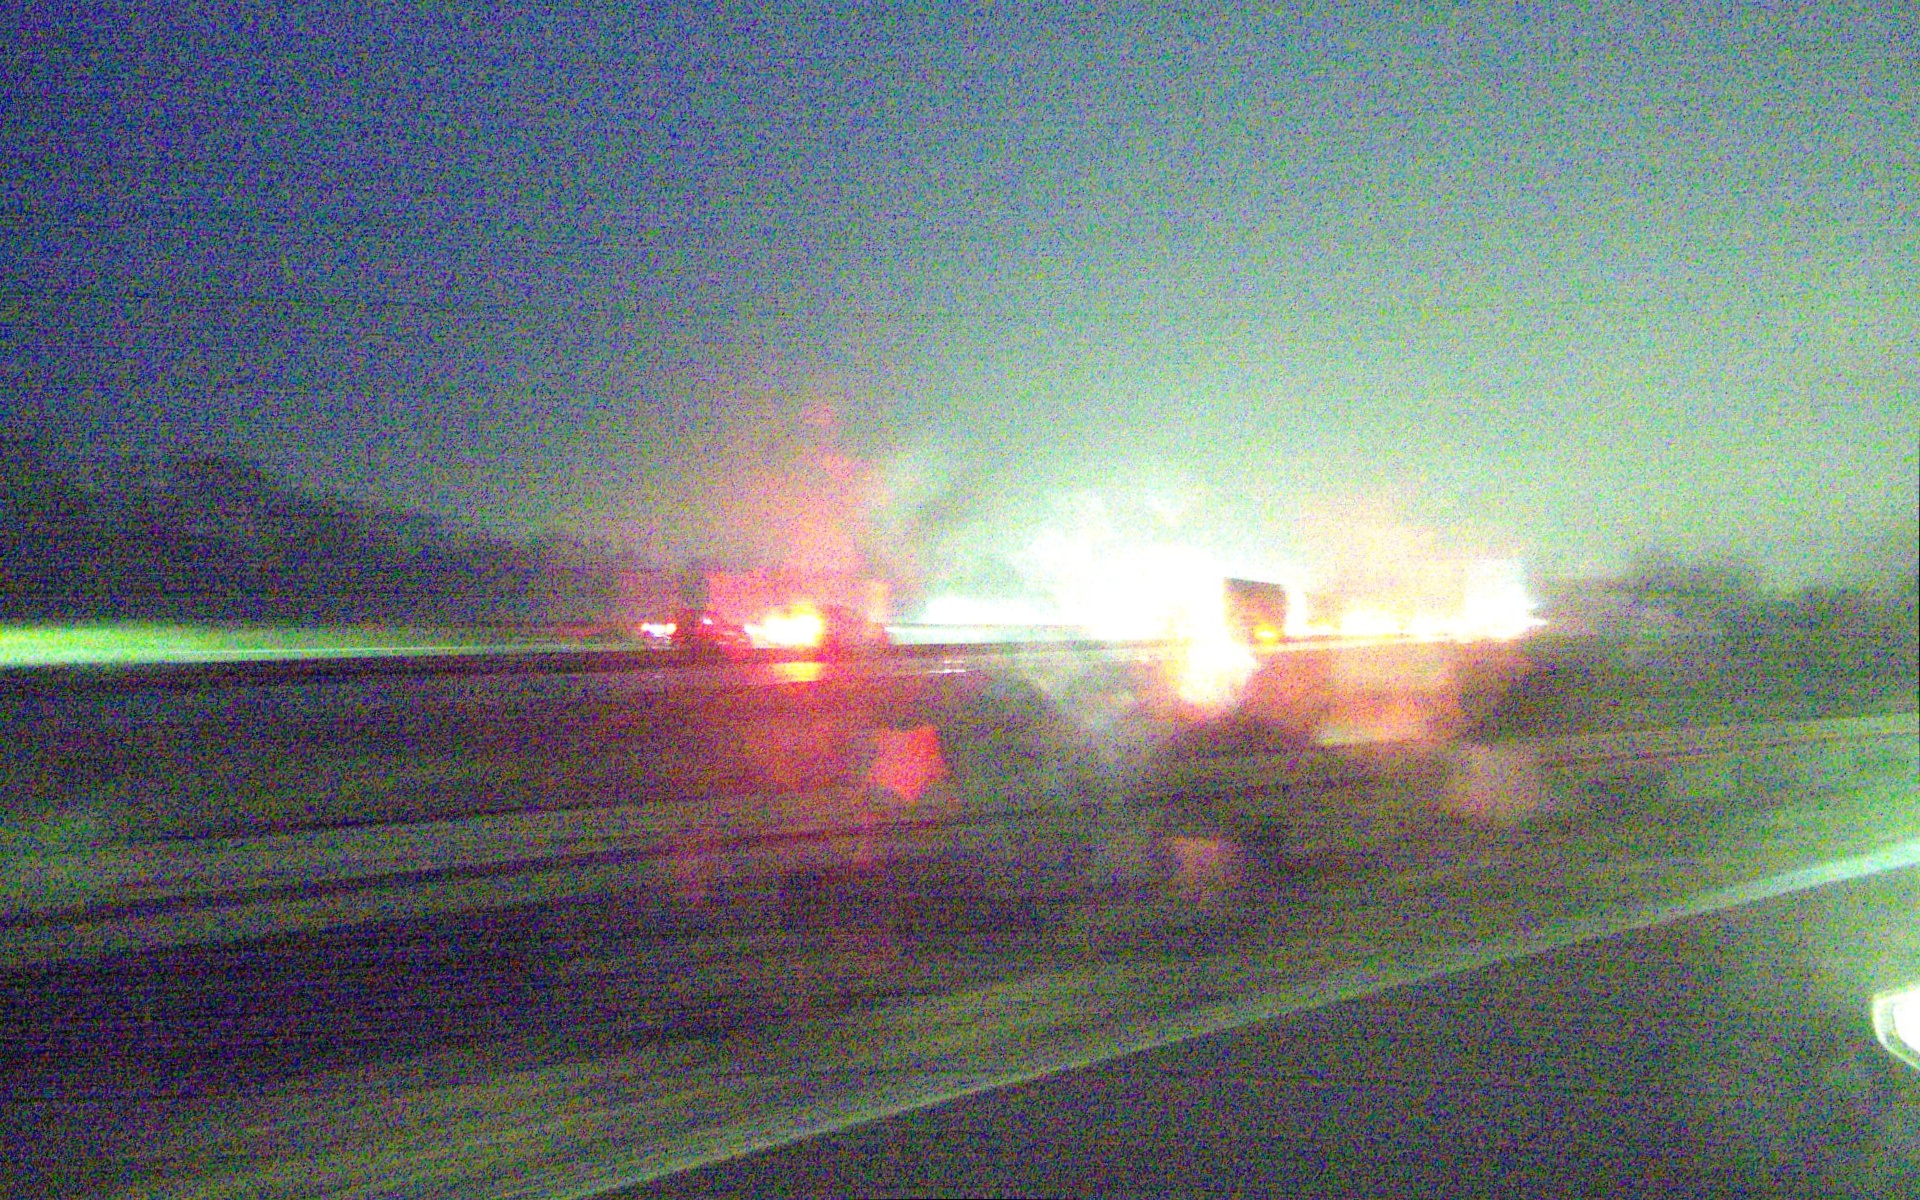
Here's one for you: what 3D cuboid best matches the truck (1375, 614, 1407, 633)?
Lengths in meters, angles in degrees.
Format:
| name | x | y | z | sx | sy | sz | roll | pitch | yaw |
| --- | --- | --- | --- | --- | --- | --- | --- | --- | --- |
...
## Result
| name | x | y | z | sx | sy | sz | roll | pitch | yaw |
| --- | --- | --- | --- | --- | --- | --- | --- | --- | --- |
| truck | 55.864 | 2.997 | 130.141 | 1.967 | 2.296 | 9.285 | 1 | 0 | 35 |

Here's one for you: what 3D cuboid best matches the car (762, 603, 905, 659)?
| name | x | y | z | sx | sy | sz | roll | pitch | yaw |
| --- | --- | --- | --- | --- | --- | --- | --- | --- | --- |
| car | -4.043 | 0.993 | 32.869 | 1.905 | 1.636 | 4.841 | 1 | -1 | 34 |

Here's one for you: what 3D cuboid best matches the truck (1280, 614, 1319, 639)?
| name | x | y | z | sx | sy | sz | roll | pitch | yaw |
| --- | --- | --- | --- | --- | --- | --- | --- | --- | --- |
| truck | 31.972 | 2.451 | 94.329 | 1.964 | 2.040 | 7.239 | 3 | 1 | 30 |

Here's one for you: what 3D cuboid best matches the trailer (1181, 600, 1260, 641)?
| name | x | y | z | sx | sy | sz | roll | pitch | yaw |
| --- | --- | --- | --- | --- | --- | --- | --- | --- | --- |
| trailer | 16.841 | 1.244 | 64.451 | 1.965 | 2.313 | 9.633 | 4 | 2 | 32 |

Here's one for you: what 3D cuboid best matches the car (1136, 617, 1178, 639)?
| name | x | y | z | sx | sy | sz | roll | pitch | yaw |
| --- | --- | --- | --- | --- | --- | --- | --- | --- | --- |
| car | 15.053 | 2.147 | 76.604 | 1.736 | 1.538 | 4.234 | 3 | 0 | 32 |

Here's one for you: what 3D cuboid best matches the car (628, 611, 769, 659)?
| name | x | y | z | sx | sy | sz | roll | pitch | yaw |
| --- | --- | --- | --- | --- | --- | --- | --- | --- | --- |
| car | -8.499 | 1.135 | 33.010 | 1.737 | 1.395 | 4.413 | 2 | -1 | 34 |
